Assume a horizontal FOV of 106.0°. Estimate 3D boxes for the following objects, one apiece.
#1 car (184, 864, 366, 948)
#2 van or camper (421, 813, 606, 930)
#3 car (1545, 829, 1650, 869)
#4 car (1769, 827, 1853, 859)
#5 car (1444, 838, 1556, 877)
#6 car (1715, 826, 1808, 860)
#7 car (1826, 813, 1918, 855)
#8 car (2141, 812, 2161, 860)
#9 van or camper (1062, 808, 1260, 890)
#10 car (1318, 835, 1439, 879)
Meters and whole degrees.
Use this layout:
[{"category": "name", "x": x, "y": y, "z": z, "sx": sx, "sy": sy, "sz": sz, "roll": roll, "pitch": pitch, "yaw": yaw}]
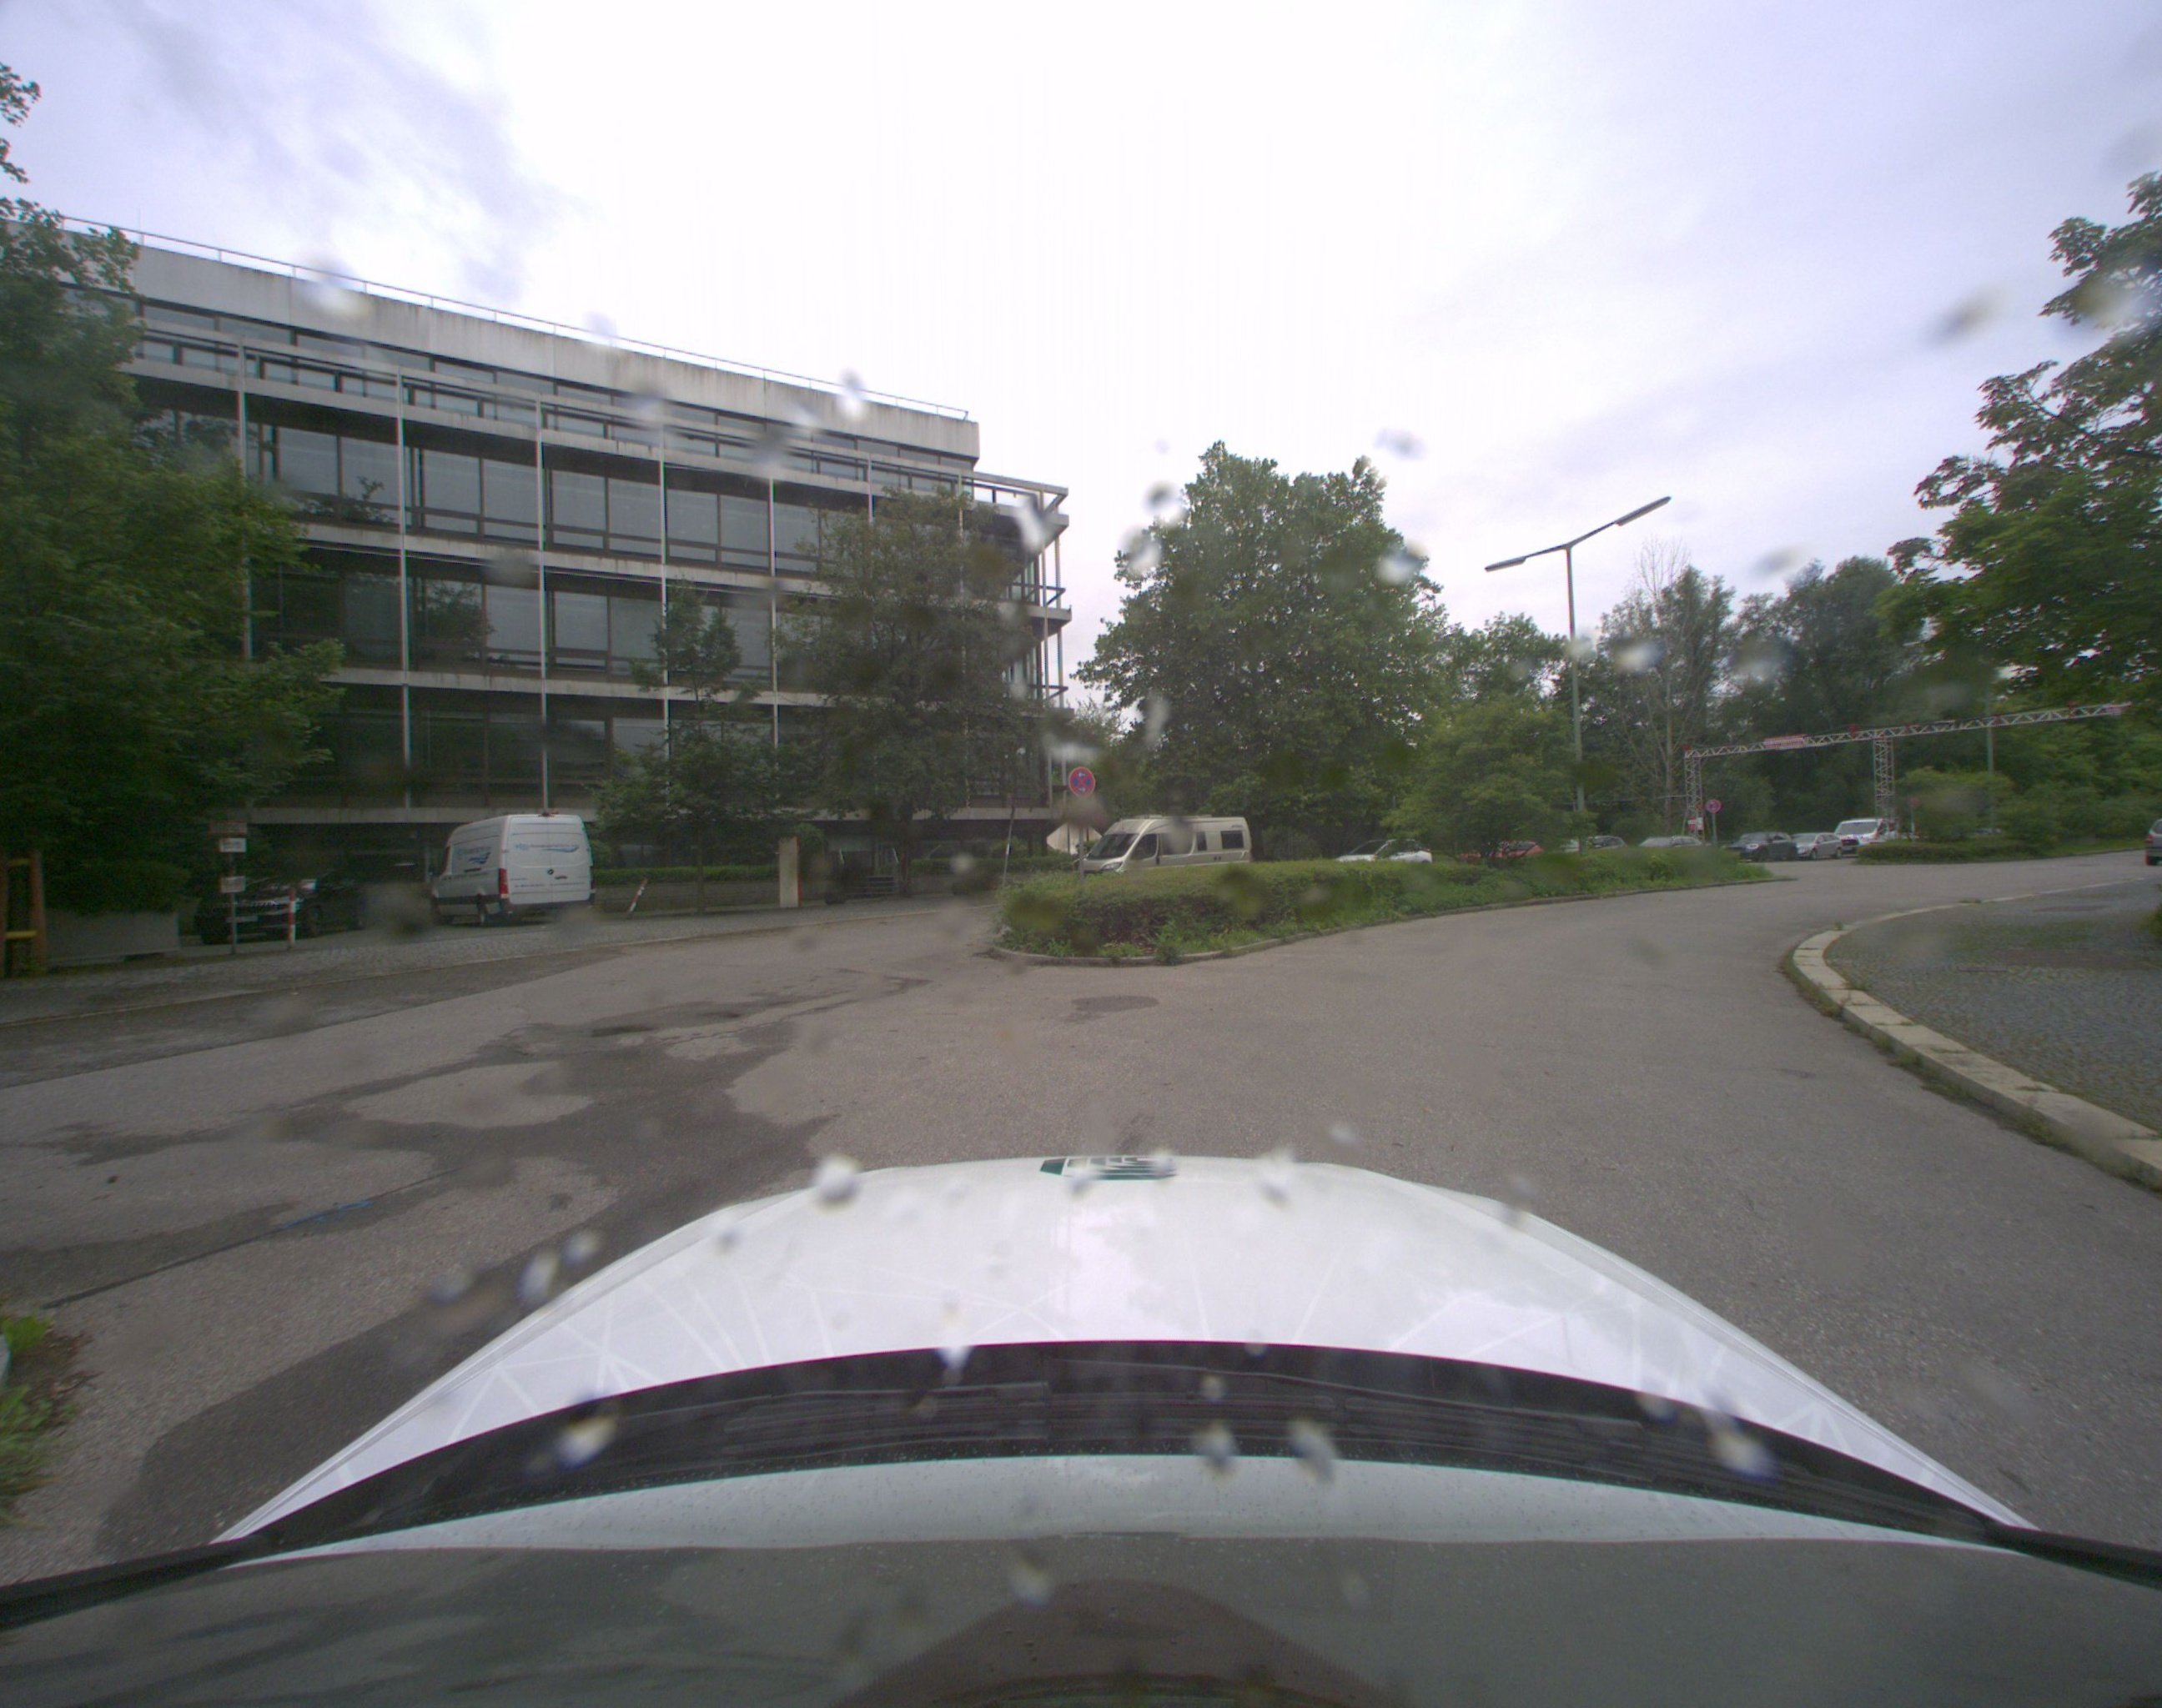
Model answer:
[{"category": "car", "x": -19.074, "y": 1.147, "z": 19.538, "sx": 1.953, "sy": 1.721, "sz": 4.199, "roll": -2, "pitch": 0, "yaw": -28}, {"category": "van or camper", "x": -14.608, "y": 0.551, "z": 20.762, "sx": 6.454, "sy": 2.581, "sz": 2.176, "roll": -4, "pitch": -2, "yaw": 40}, {"category": "car", "x": 22.616, "y": -0.225, "z": 35.659, "sx": 4.005, "sy": 1.574, "sz": 1.984, "roll": -2, "pitch": 0, "yaw": -24}, {"category": "car", "x": 38.954, "y": -0.596, "z": 43.444, "sx": 4.008, "sy": 1.574, "sz": 1.983, "roll": -2, "pitch": 0, "yaw": -26}, {"category": "car", "x": 17.105, "y": 0.121, "z": 33.244, "sx": 4.005, "sy": 1.409, "sz": 1.984, "roll": -2, "pitch": 0, "yaw": -24}, {"category": "car", "x": 34.424, "y": -0.538, "z": 41.206, "sx": 4.005, "sy": 1.574, "sz": 1.984, "roll": -2, "pitch": 0, "yaw": -24}, {"category": "car", "x": 44.466, "y": -1.129, "z": 45.777, "sx": 4.880, "sy": 2.227, "sz": 2.187, "roll": -2, "pitch": 0, "yaw": -27}, {"category": "car", "x": 38.034, "y": -0.670, "z": 27.695, "sx": 4.010, "sy": 1.611, "sz": 1.718, "roll": -2, "pitch": 0, "yaw": -28}, {"category": "van or camper", "x": 2.651, "y": -0.190, "z": 25.620, "sx": 6.451, "sy": 2.281, "sz": 2.229, "roll": -1, "pitch": 0, "yaw": -39}, {"category": "car", "x": 11.229, "y": 0.102, "z": 30.747, "sx": 4.005, "sy": 1.508, "sz": 1.984, "roll": -2, "pitch": 0, "yaw": -24}]
